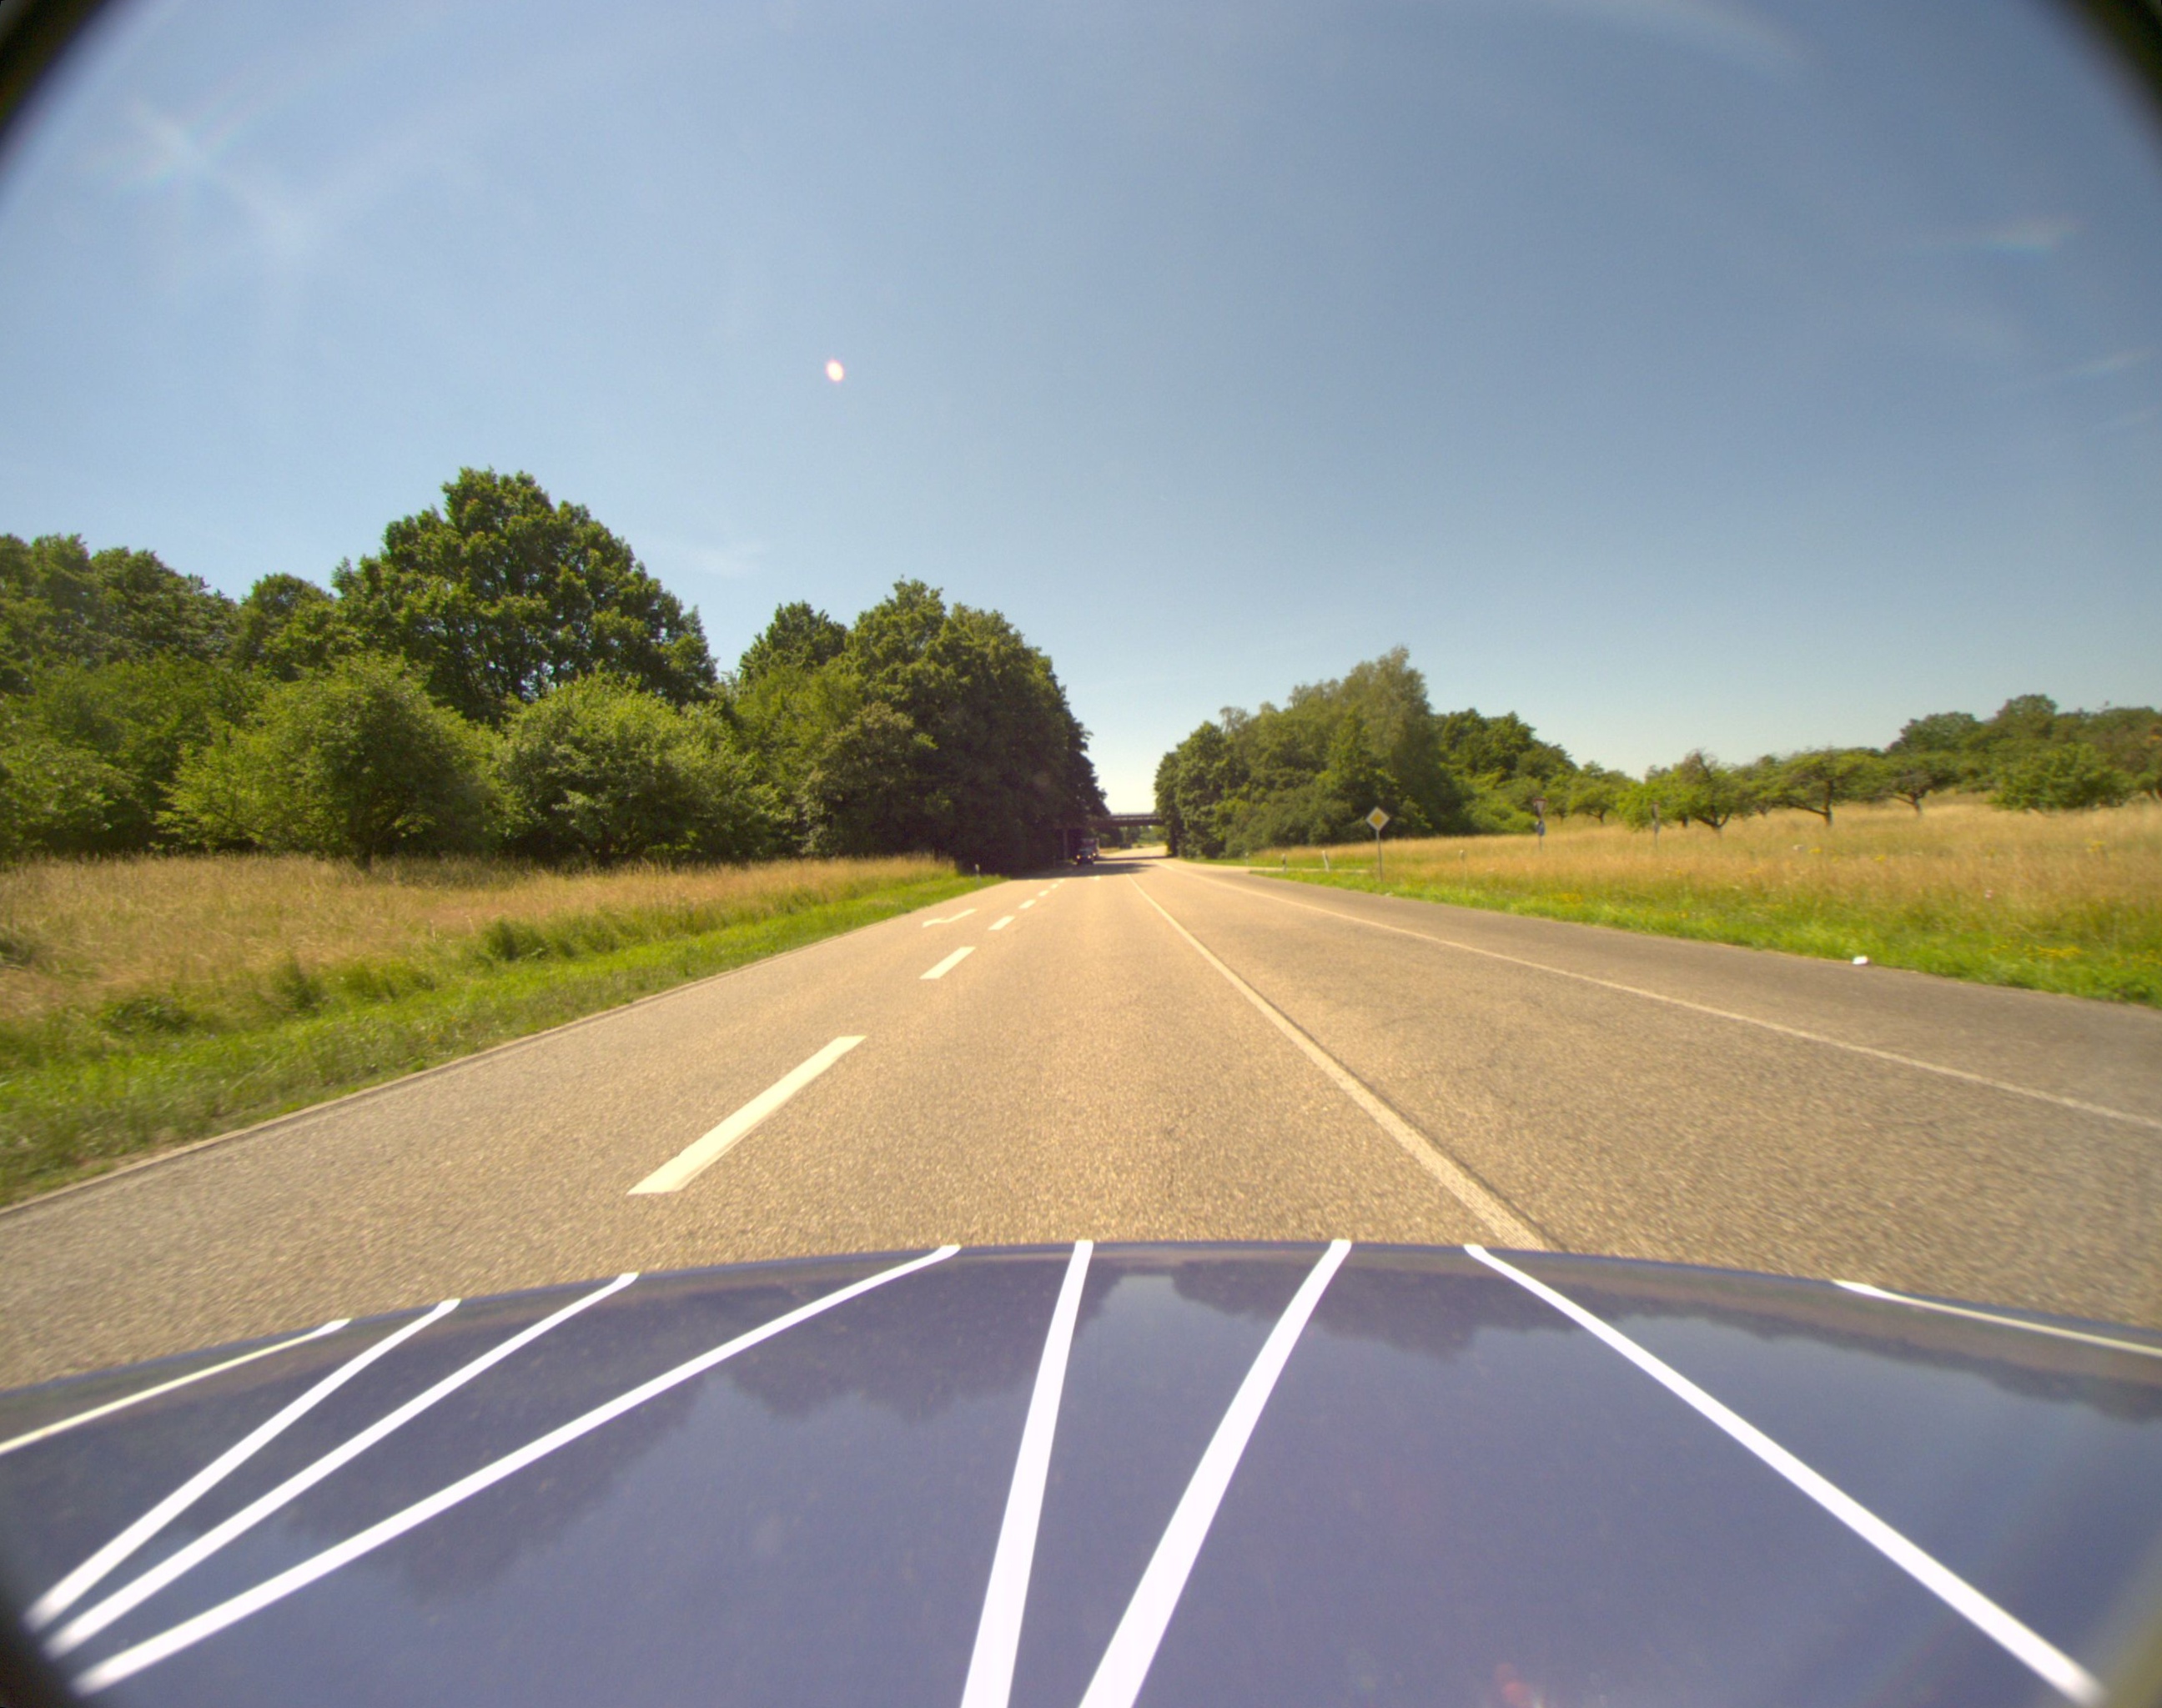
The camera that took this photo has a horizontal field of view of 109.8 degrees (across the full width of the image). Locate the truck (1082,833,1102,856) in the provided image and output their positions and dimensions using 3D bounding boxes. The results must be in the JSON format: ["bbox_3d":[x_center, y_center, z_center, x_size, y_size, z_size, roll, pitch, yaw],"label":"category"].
[{"bbox_3d":[1.537,-1.321,103.333,2.457,2.927,6.974,-2,1,3],"label":"truck"}]

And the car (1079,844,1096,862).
[{"bbox_3d":[0.722,-0.142,84.161,1.746,1.833,4.000,-2,1,2],"label":"car"}]
